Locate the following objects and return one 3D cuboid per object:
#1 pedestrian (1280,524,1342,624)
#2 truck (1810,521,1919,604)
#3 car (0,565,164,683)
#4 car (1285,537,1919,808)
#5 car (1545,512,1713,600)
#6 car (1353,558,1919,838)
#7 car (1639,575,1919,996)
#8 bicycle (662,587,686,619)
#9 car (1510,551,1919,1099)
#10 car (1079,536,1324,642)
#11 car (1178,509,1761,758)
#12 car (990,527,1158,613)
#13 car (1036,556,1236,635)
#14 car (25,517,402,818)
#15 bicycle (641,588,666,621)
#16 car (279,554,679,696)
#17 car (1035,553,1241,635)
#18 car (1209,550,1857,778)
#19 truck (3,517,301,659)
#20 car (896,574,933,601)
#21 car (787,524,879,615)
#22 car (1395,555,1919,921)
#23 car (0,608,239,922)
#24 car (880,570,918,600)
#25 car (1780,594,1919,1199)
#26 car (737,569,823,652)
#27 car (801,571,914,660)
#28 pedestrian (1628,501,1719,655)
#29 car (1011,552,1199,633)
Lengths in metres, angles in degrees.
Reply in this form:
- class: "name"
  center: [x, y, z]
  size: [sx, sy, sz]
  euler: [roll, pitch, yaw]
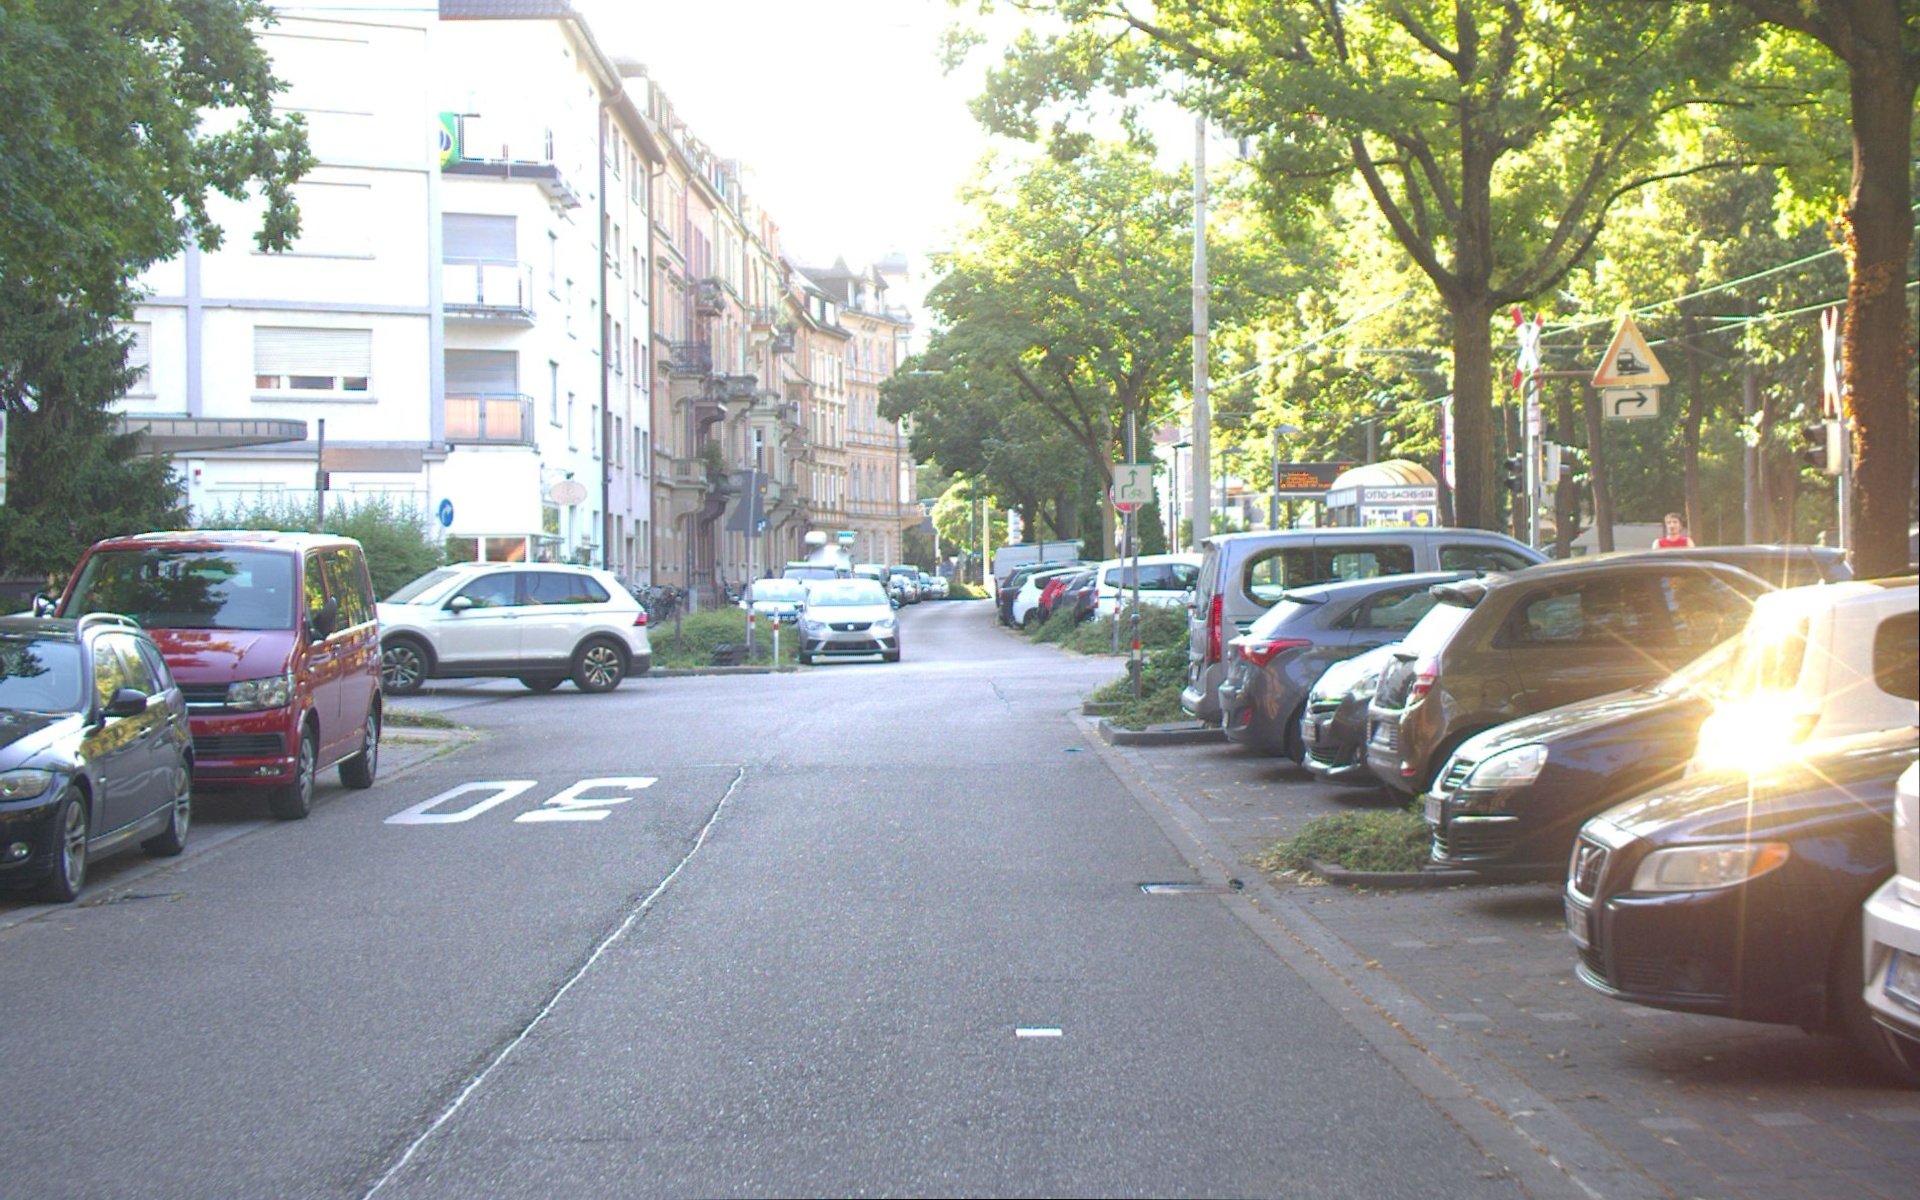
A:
- class: "pedestrian"
  center: [6.778, -0.498, 66.316]
  size: [0.850, 1.904, 0.836]
  euler: [-1, 0, 35]
- class: "truck"
  center: [26.711, -1.097, 100.974]
  size: [2.366, 2.344, 4.384]
  euler: [-1, 0, 0]
- class: "car"
  center: [-12.836, 0.320, 45.071]
  size: [4.282, 1.445, 1.923]
  euler: [-1, 1, 3]
- class: "car"
  center: [4.480, 0.471, 23.111]
  size: [4.435, 1.685, 1.950]
  euler: [-1, 0, 2]
- class: "car"
  center: [19.901, -1.313, 102.333]
  size: [4.493, 2.468, 1.816]
  euler: [2, 0, 31]
- class: "car"
  center: [4.744, 0.559, 20.773]
  size: [4.539, 1.567, 1.950]
  euler: [-1, 0, 2]
- class: "car"
  center: [4.513, 0.658, 13.426]
  size: [3.398, 1.509, 1.719]
  euler: [-1, 1, 2]
- class: "bicycle"
  center: [-9.350, 0.098, 112.509]
  size: [0.626, 1.000, 2.176]
  euler: [-1, 1, -1]
- class: "car"
  center: [4.235, 0.622, 10.839]
  size: [4.700, 1.567, 2.000]
  euler: [-1, 0, 2]
- class: "car"
  center: [4.558, -0.204, 65.027]
  size: [4.234, 1.647, 1.605]
  euler: [-5, 0, 31]
- class: "car"
  center: [4.119, 0.275, 28.408]
  size: [4.539, 1.908, 1.950]
  euler: [-1, 0, 2]
- class: "car"
  center: [4.015, -1.064, 121.215]
  size: [5.259, 2.563, 2.270]
  euler: [-5, 0, 28]
- class: "car"
  center: [4.088, -0.105, 79.891]
  size: [4.232, 1.454, 1.606]
  euler: [-5, 0, 24]
- class: "car"
  center: [-5.260, 0.411, 24.822]
  size: [1.776, 1.927, 4.773]
  euler: [1, 1, -2]
- class: "bicycle"
  center: [-9.521, 0.143, 106.903]
  size: [0.626, 1.000, 2.176]
  euler: [-1, 1, -1]
- class: "car"
  center: [-5.991, 0.281, 42.946]
  size: [4.519, 1.641, 1.943]
  euler: [-1, 1, -31]
- class: "car"
  center: [3.985, -0.136, 77.033]
  size: [4.232, 1.454, 1.606]
  euler: [-5, 0, 24]
- class: "car"
  center: [4.188, 0.469, 25.731]
  size: [4.539, 1.567, 1.950]
  euler: [-1, 0, 2]
- class: "truck"
  center: [-14.964, -0.243, 63.792]
  size: [4.957, 2.526, 2.000]
  euler: [-1, 0, -35]
- class: "car"
  center: [-2.583, -0.697, 195.668]
  size: [1.711, 1.441, 4.000]
  euler: [-2, 1, 4]
- class: "car"
  center: [-4.208, -1.034, 114.692]
  size: [2.552, 2.877, 5.481]
  euler: [-2, 1, 2]
- class: "car"
  center: [4.485, 0.587, 15.973]
  size: [4.700, 1.567, 2.000]
  euler: [-1, 0, 2]
- class: "car"
  center: [-5.351, 0.800, 18.807]
  size: [1.776, 1.429, 4.270]
  euler: [1, 1, 2]
- class: "car"
  center: [-3.135, -0.799, 177.356]
  size: [1.711, 1.441, 4.000]
  euler: [-2, 1, 2]
- class: "car"
  center: [4.155, 0.675, 8.135]
  size: [3.987, 1.456, 1.684]
  euler: [-2, 1, 0]
- class: "car"
  center: [-3.833, 0.199, 73.490]
  size: [1.710, 1.667, 4.000]
  euler: [-2, 1, -3]
- class: "car"
  center: [-1.835, 0.239, 60.327]
  size: [1.710, 1.441, 4.001]
  euler: [-2, 1, -5]
- class: "pedestrian"
  center: [9.056, -0.286, 43.670]
  size: [0.902, 1.912, 1.150]
  euler: [-1, 1, 0]
- class: "car"
  center: [3.591, -0.172, 85.430]
  size: [4.236, 1.645, 1.854]
  euler: [-5, 0, 36]
